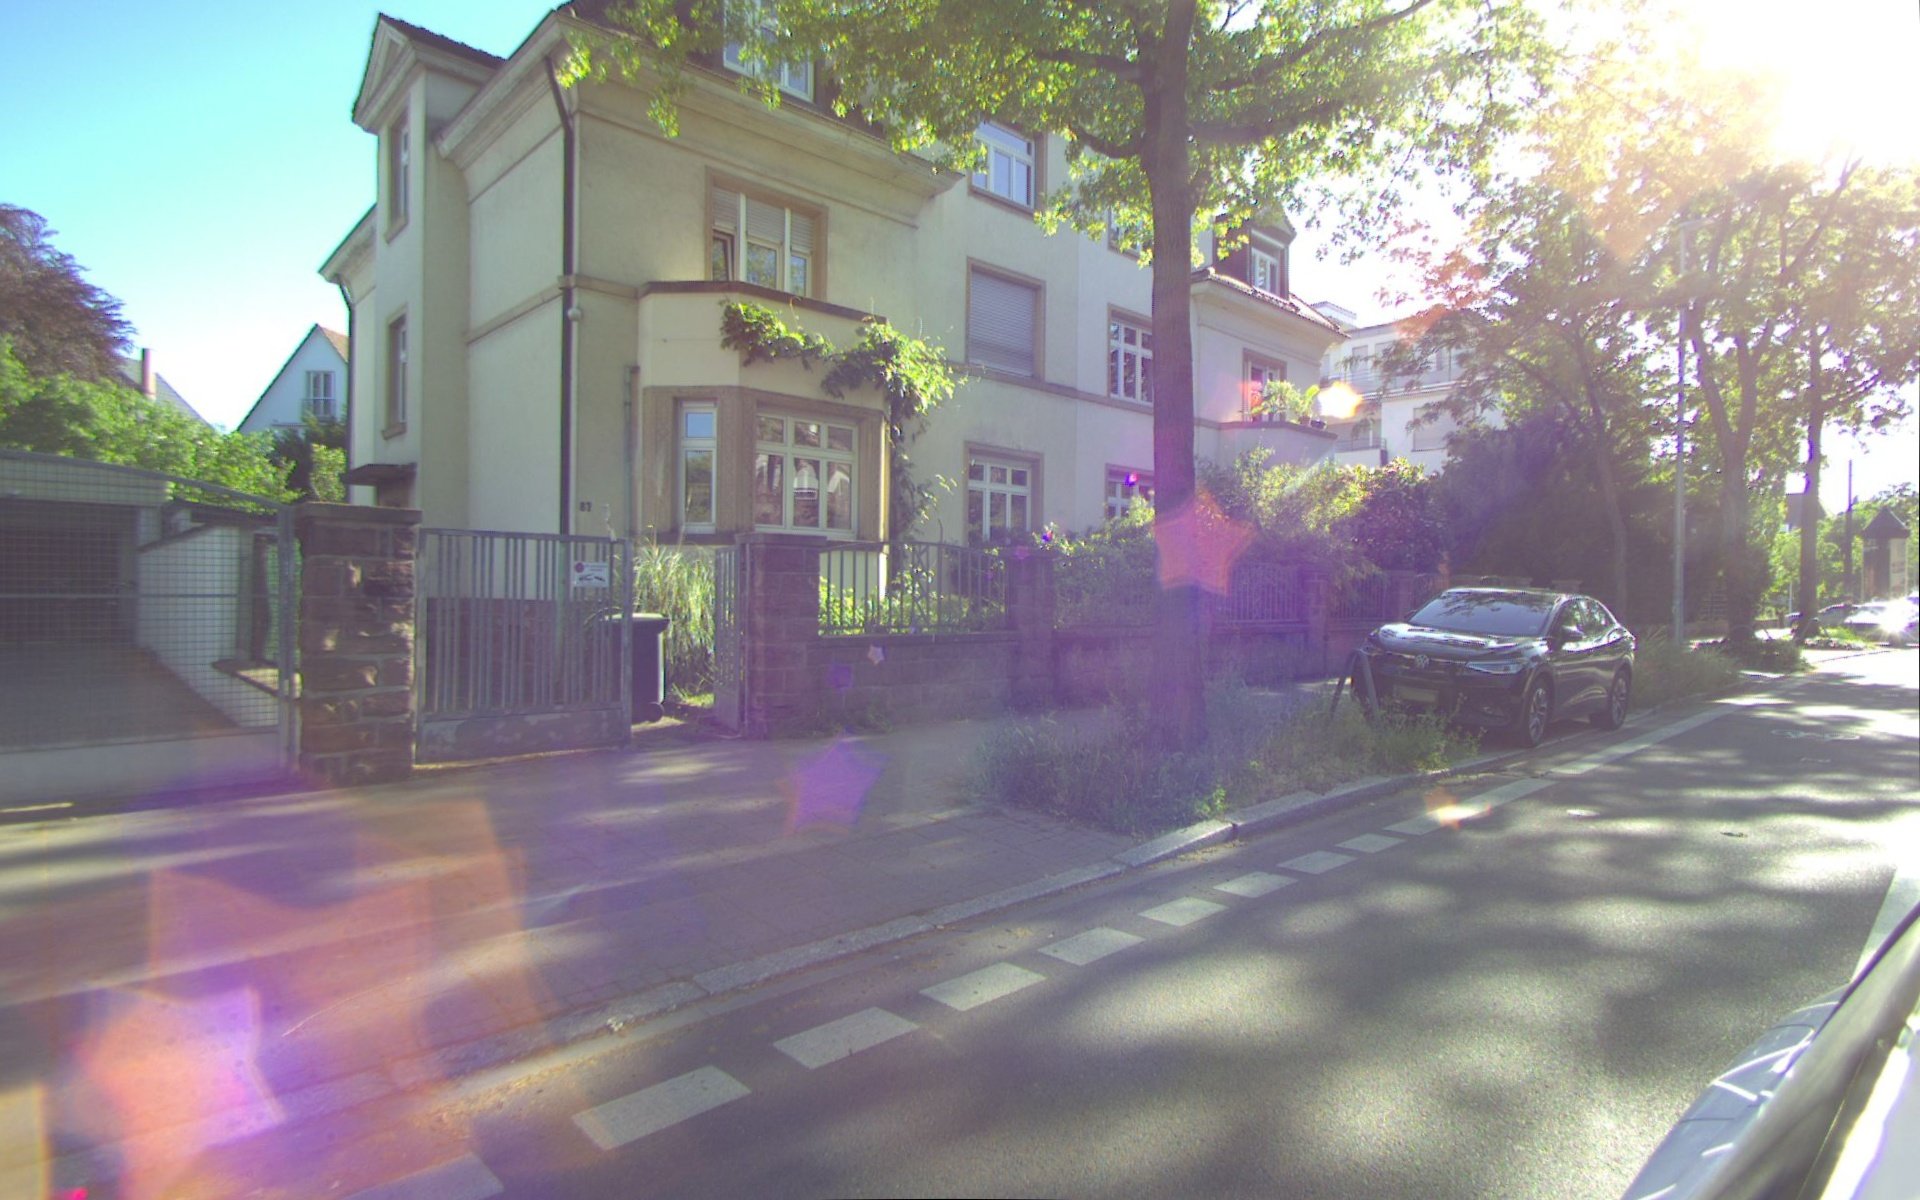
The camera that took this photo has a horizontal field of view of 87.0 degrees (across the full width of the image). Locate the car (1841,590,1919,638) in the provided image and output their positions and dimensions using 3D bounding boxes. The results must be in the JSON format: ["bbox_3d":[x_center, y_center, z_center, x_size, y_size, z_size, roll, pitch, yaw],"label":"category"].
[{"bbox_3d":[31.459,0.428,34.011,4.253,1.440,1.999,-1,2,-38],"label":"car"}]

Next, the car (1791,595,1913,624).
[{"bbox_3d":[46.488,0.456,52.813,1.933,1.386,4.520,0,1,-39],"label":"car"}]

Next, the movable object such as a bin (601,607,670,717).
[{"bbox_3d":[-3.316,0.613,10.323,0.634,1.060,0.659,0,0,-21],"label":"movable object such as a bin"}]

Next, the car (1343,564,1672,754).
[{"bbox_3d":[6.535,0.533,11.830,4.647,1.714,1.808,0,4,-41],"label":"car"}]

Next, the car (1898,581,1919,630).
[{"bbox_3d":[36.395,0.218,37.228,4.664,1.768,2.028,0,1,-38],"label":"car"}]
